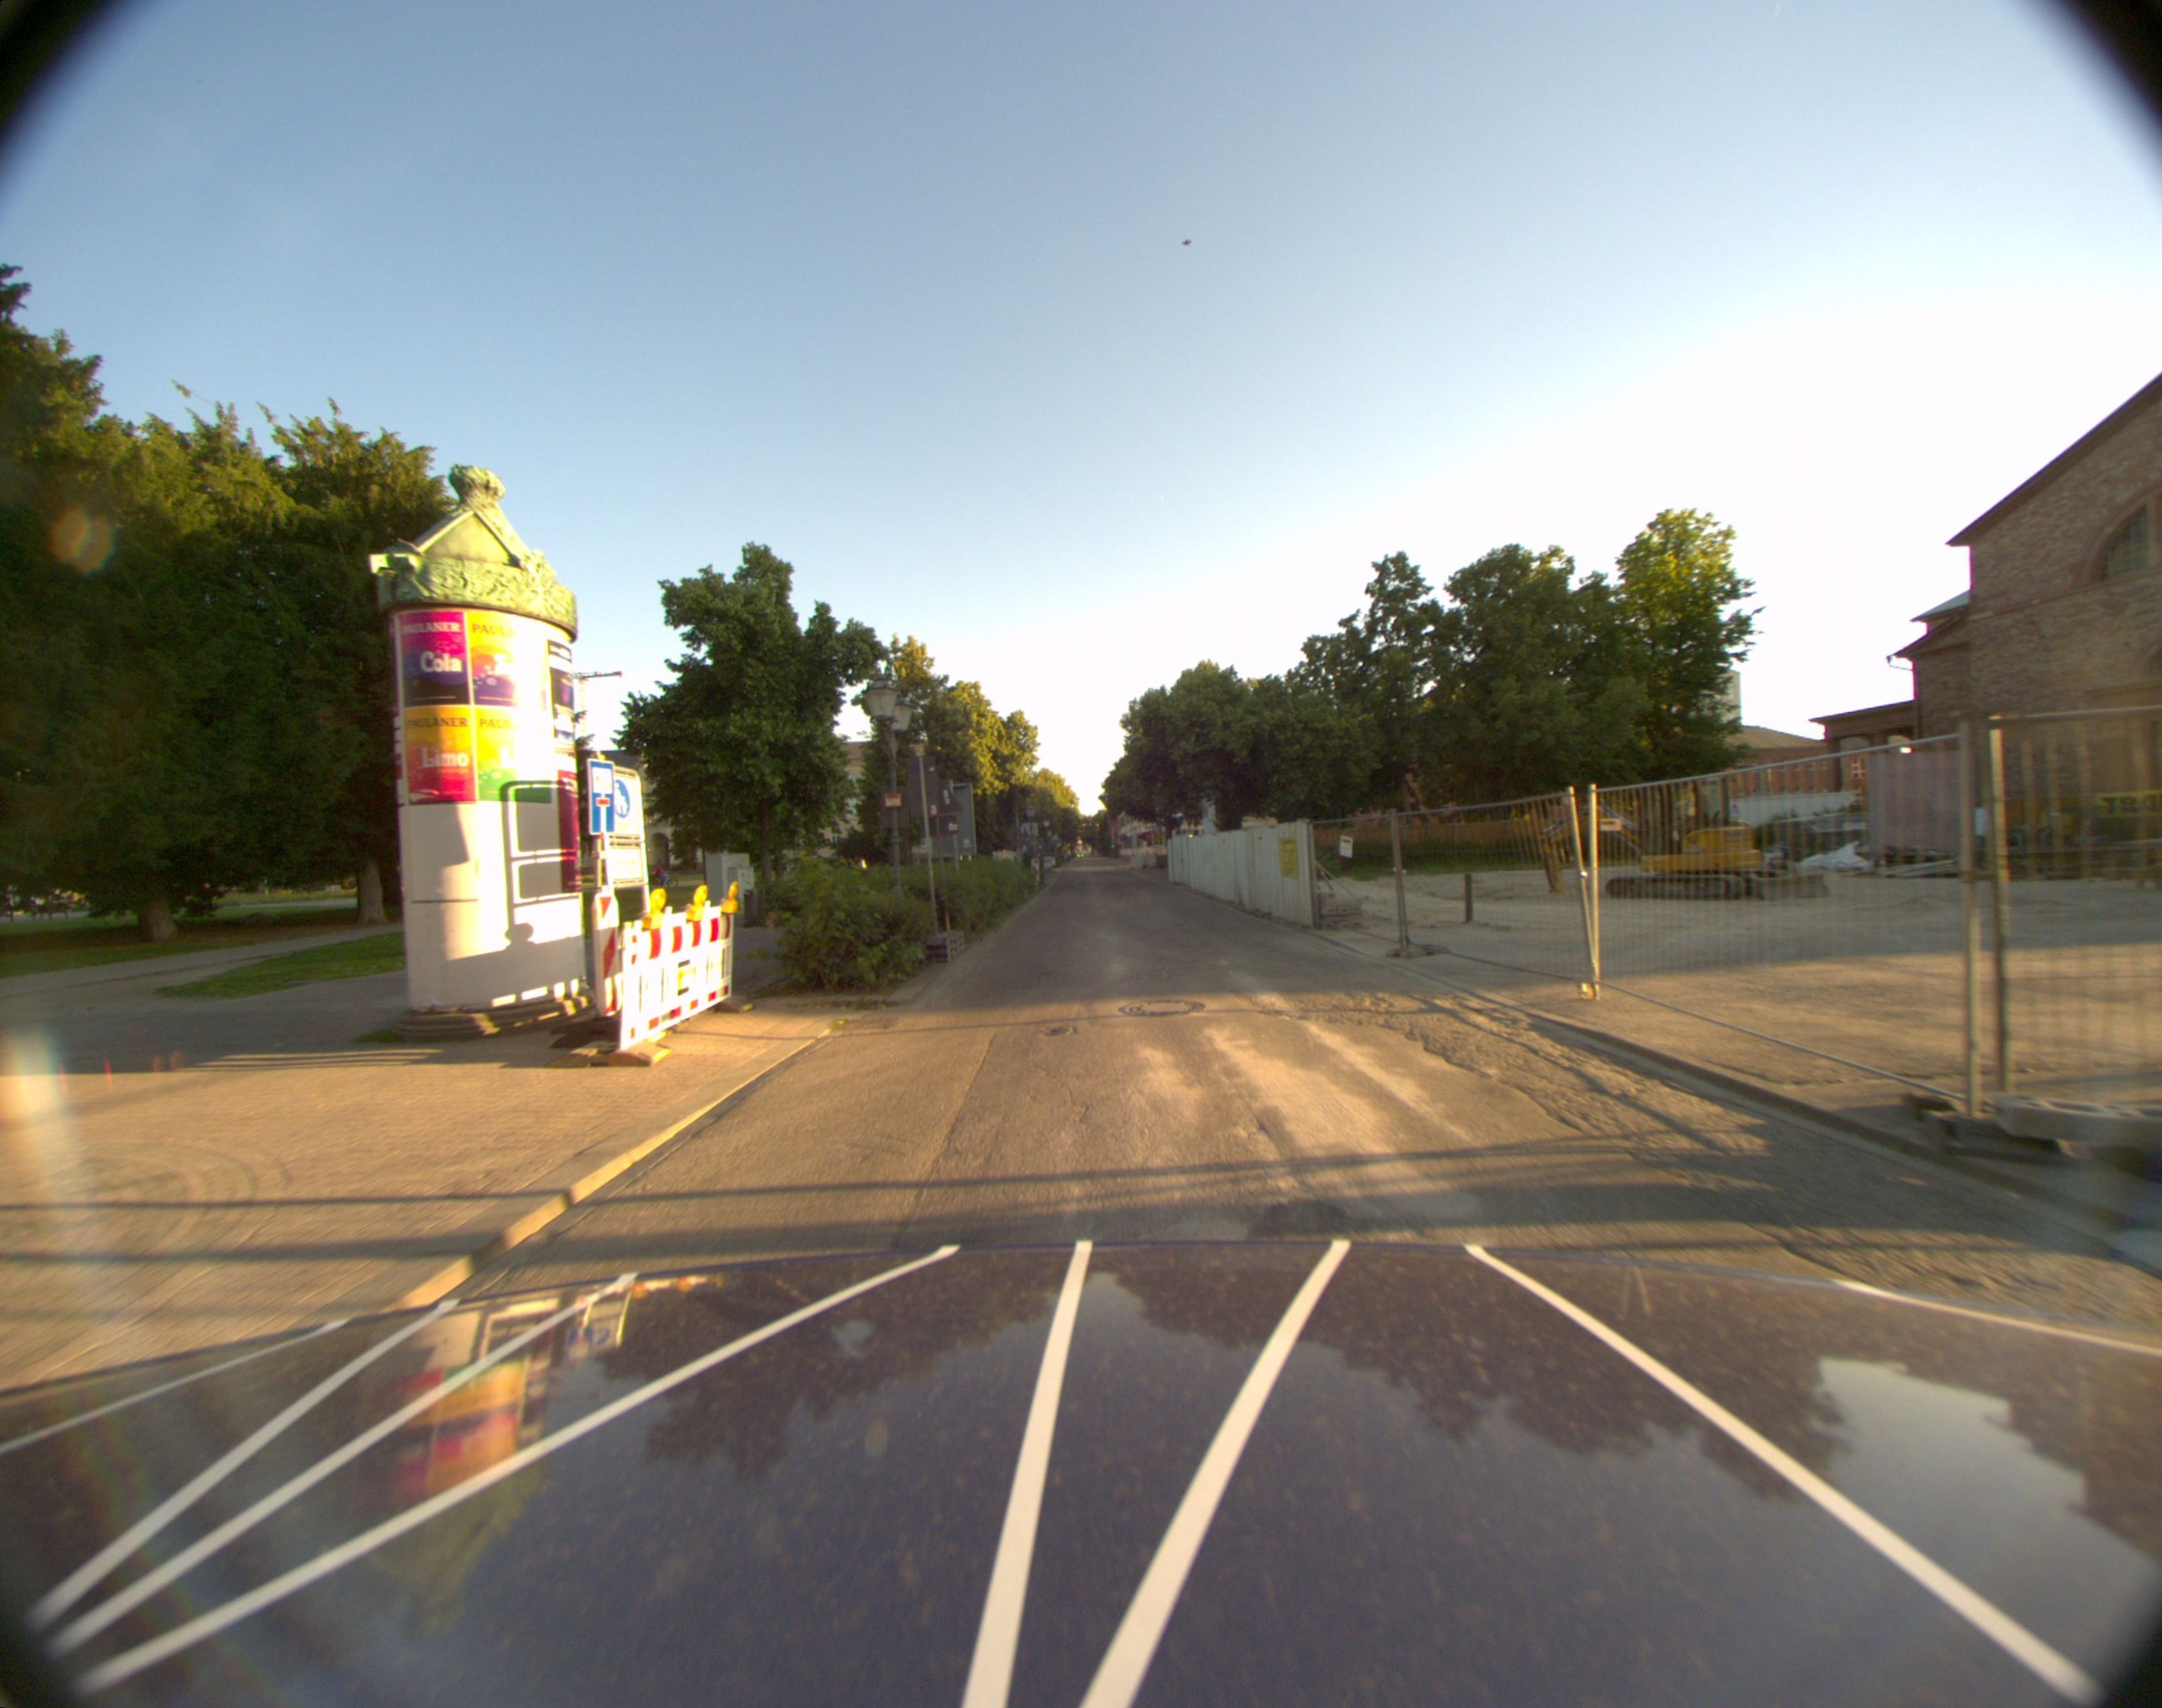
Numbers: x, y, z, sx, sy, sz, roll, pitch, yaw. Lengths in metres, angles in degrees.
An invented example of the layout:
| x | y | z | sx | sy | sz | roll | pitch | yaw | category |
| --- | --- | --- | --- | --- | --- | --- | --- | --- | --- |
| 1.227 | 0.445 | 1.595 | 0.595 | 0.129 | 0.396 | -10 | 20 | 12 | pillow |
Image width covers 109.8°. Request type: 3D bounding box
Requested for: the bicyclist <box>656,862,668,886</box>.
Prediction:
| x | y | z | sx | sy | sz | roll | pitch | yaw | category |
| --- | --- | --- | --- | --- | --- | --- | --- | --- | --- |
| -29.538 | 1.412 | 53.557 | 0.678 | 1.623 | 0.657 | -3 | 1 | -34 | bicyclist |

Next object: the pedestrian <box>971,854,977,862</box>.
| x | y | z | sx | sy | sz | roll | pitch | yaw | category |
| --- | --- | --- | --- | --- | --- | --- | --- | --- | --- |
| -14.330 | 0.499 | 101.701 | 0.605 | 1.044 | 0.394 | -3 | 1 | -36 | pedestrian |

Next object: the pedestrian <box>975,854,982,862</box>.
| x | y | z | sx | sy | sz | roll | pitch | yaw | category |
| --- | --- | --- | --- | --- | --- | --- | --- | --- | --- |
| -13.848 | 0.504 | 102.695 | 0.798 | 1.044 | 0.394 | -3 | 1 | -36 | pedestrian |

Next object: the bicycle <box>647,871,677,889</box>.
| x | y | z | sx | sy | sz | roll | pitch | yaw | category |
| --- | --- | --- | --- | --- | --- | --- | --- | --- | --- |
| -29.517 | 1.845 | 53.563 | 1.778 | 1.170 | 0.564 | -2 | 1 | -35 | bicycle |

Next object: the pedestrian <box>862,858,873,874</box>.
| x | y | z | sx | sy | sz | roll | pitch | yaw | category |
| --- | --- | --- | --- | --- | --- | --- | --- | --- | --- |
| -21.991 | 1.196 | 78.196 | 0.859 | 1.616 | 0.757 | -2 | 1 | -2 | pedestrian |

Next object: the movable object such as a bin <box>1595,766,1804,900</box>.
| x | y | z | sx | sy | sz | roll | pitch | yaw | category |
| --- | --- | --- | --- | --- | --- | --- | --- | --- | --- |
| 13.210 | -0.435 | 16.362 | 2.161 | 2.588 | 2.743 | -3 | 1 | -22 | movable object such as a bin |
